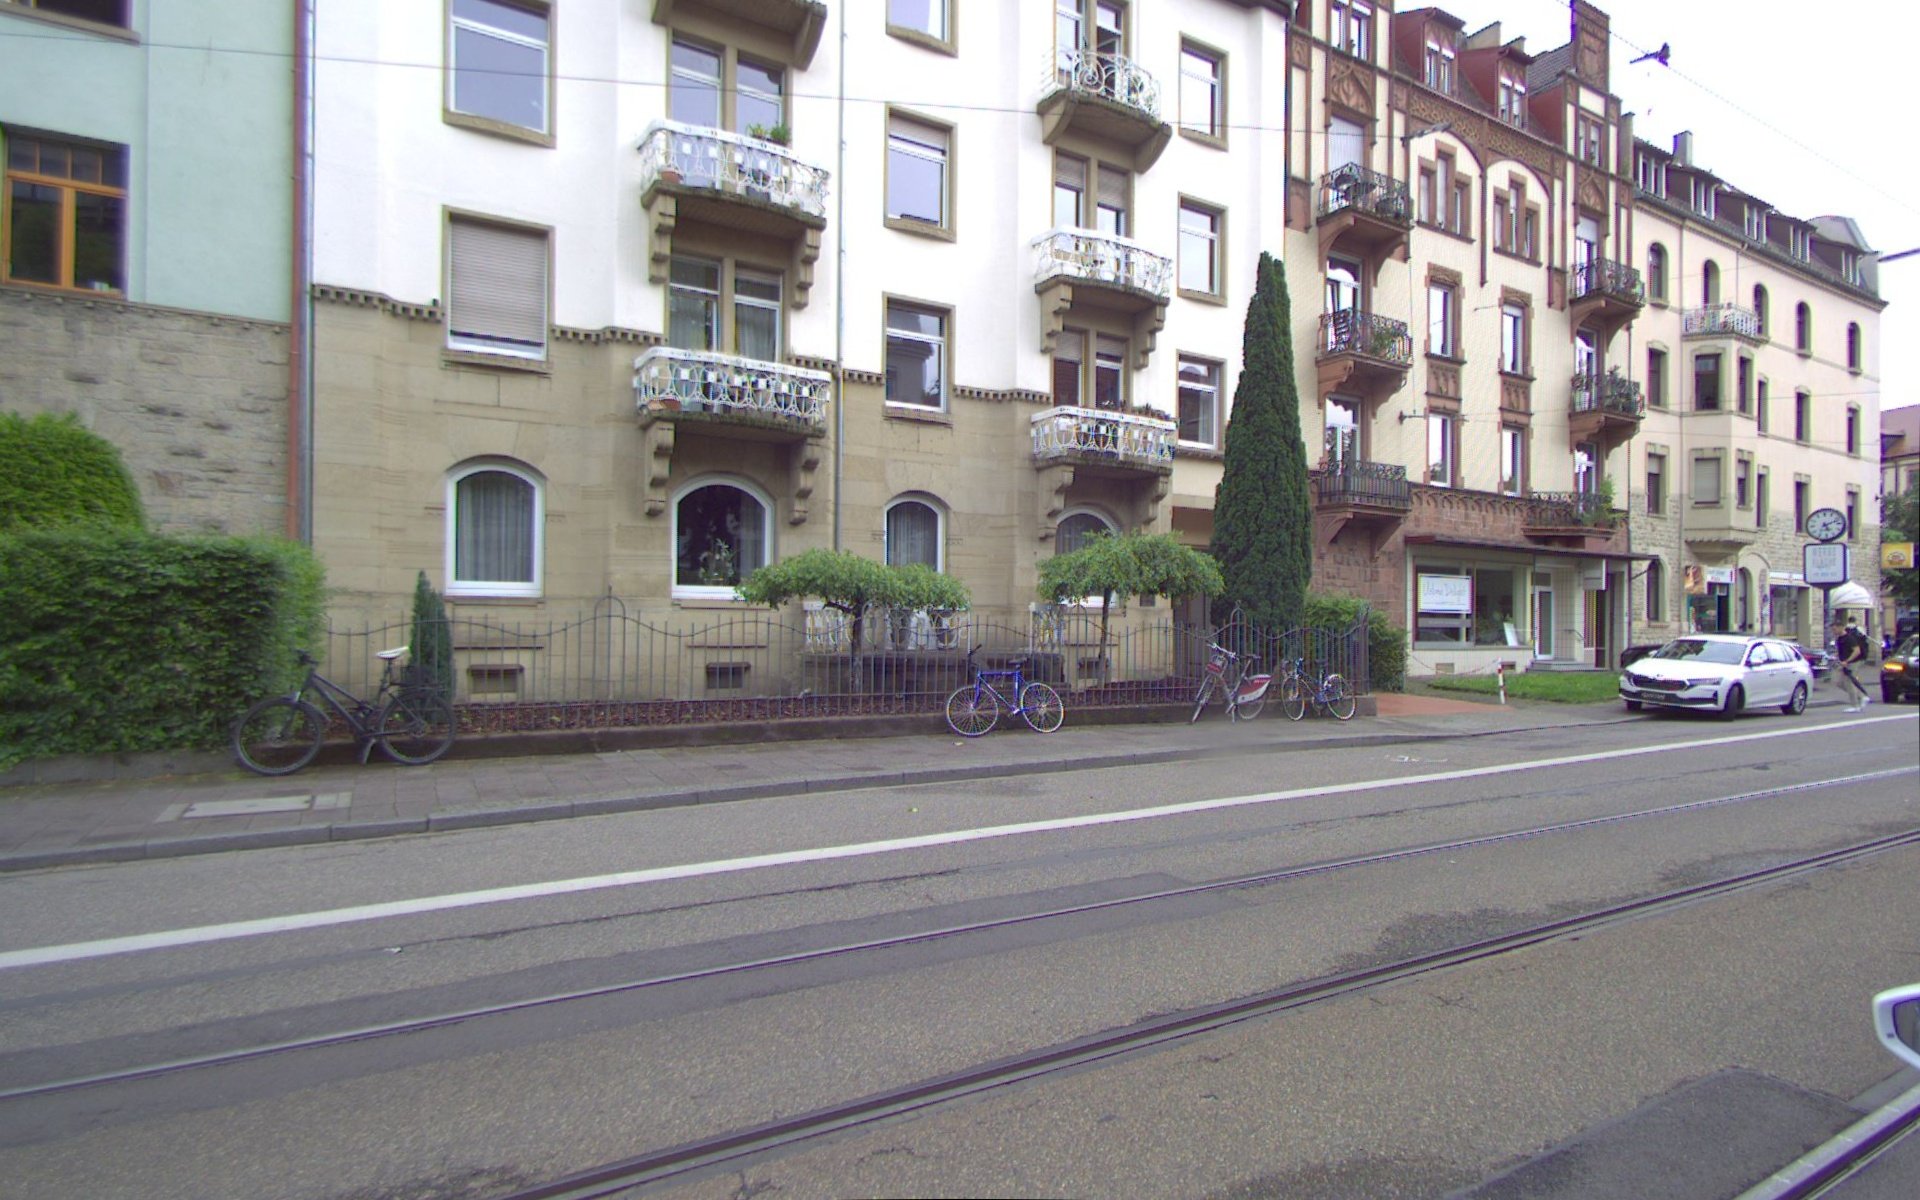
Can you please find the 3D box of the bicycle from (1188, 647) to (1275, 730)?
[{"bbox_3d":[3.913,1.236,14.407,1.613,1.116,0.381,2,-2,-42],"label":"bicycle"}]

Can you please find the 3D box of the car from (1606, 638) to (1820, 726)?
[{"bbox_3d":[14.497,1.488,19.265,4.557,1.504,1.738,1,-2,-31],"label":"car"}]

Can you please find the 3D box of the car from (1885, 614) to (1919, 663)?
[{"bbox_3d":[49.685,1.971,50.853,2.142,2.449,5.382,0,-1,18],"label":"car"}]

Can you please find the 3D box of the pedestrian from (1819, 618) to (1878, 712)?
[{"bbox_3d":[18.147,1.310,20.522,0.872,1.868,0.664,1,-2,-31],"label":"pedestrian"}]

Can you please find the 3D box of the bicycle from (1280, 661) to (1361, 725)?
[{"bbox_3d":[5.662,1.439,15.738,1.498,0.950,0.330,1,-1,-31],"label":"bicycle"}]

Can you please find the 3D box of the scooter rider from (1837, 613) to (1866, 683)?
[{"bbox_3d":[26.673,1.430,30.056,0.634,2.040,0.754,0,-1,41],"label":"scooter rider"}]

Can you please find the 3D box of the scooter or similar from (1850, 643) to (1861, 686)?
[{"bbox_3d":[26.720,1.916,29.981,0.228,1.250,0.948,0,-1,41],"label":"scooter or similar"}]

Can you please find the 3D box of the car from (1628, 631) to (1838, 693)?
[{"bbox_3d":[22.039,1.713,28.802,1.861,1.389,4.397,1,1,-34],"label":"car"}]

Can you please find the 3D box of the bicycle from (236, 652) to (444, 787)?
[{"bbox_3d":[-5.452,1.022,8.910,1.529,1.098,0.358,1,-1,-31],"label":"bicycle"}]

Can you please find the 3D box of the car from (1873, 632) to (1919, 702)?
[{"bbox_3d":[24.419,1.636,24.927,4.846,1.632,1.868,2,-4,-39],"label":"car"}]

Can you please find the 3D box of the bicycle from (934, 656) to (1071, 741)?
[{"bbox_3d":[0.540,1.220,12.637,1.640,0.938,0.358,0,-20,-28],"label":"bicycle"}]

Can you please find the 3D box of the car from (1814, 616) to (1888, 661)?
[{"bbox_3d":[53.802,2.309,60.775,2.146,2.560,5.373,0,-1,28],"label":"car"}]
